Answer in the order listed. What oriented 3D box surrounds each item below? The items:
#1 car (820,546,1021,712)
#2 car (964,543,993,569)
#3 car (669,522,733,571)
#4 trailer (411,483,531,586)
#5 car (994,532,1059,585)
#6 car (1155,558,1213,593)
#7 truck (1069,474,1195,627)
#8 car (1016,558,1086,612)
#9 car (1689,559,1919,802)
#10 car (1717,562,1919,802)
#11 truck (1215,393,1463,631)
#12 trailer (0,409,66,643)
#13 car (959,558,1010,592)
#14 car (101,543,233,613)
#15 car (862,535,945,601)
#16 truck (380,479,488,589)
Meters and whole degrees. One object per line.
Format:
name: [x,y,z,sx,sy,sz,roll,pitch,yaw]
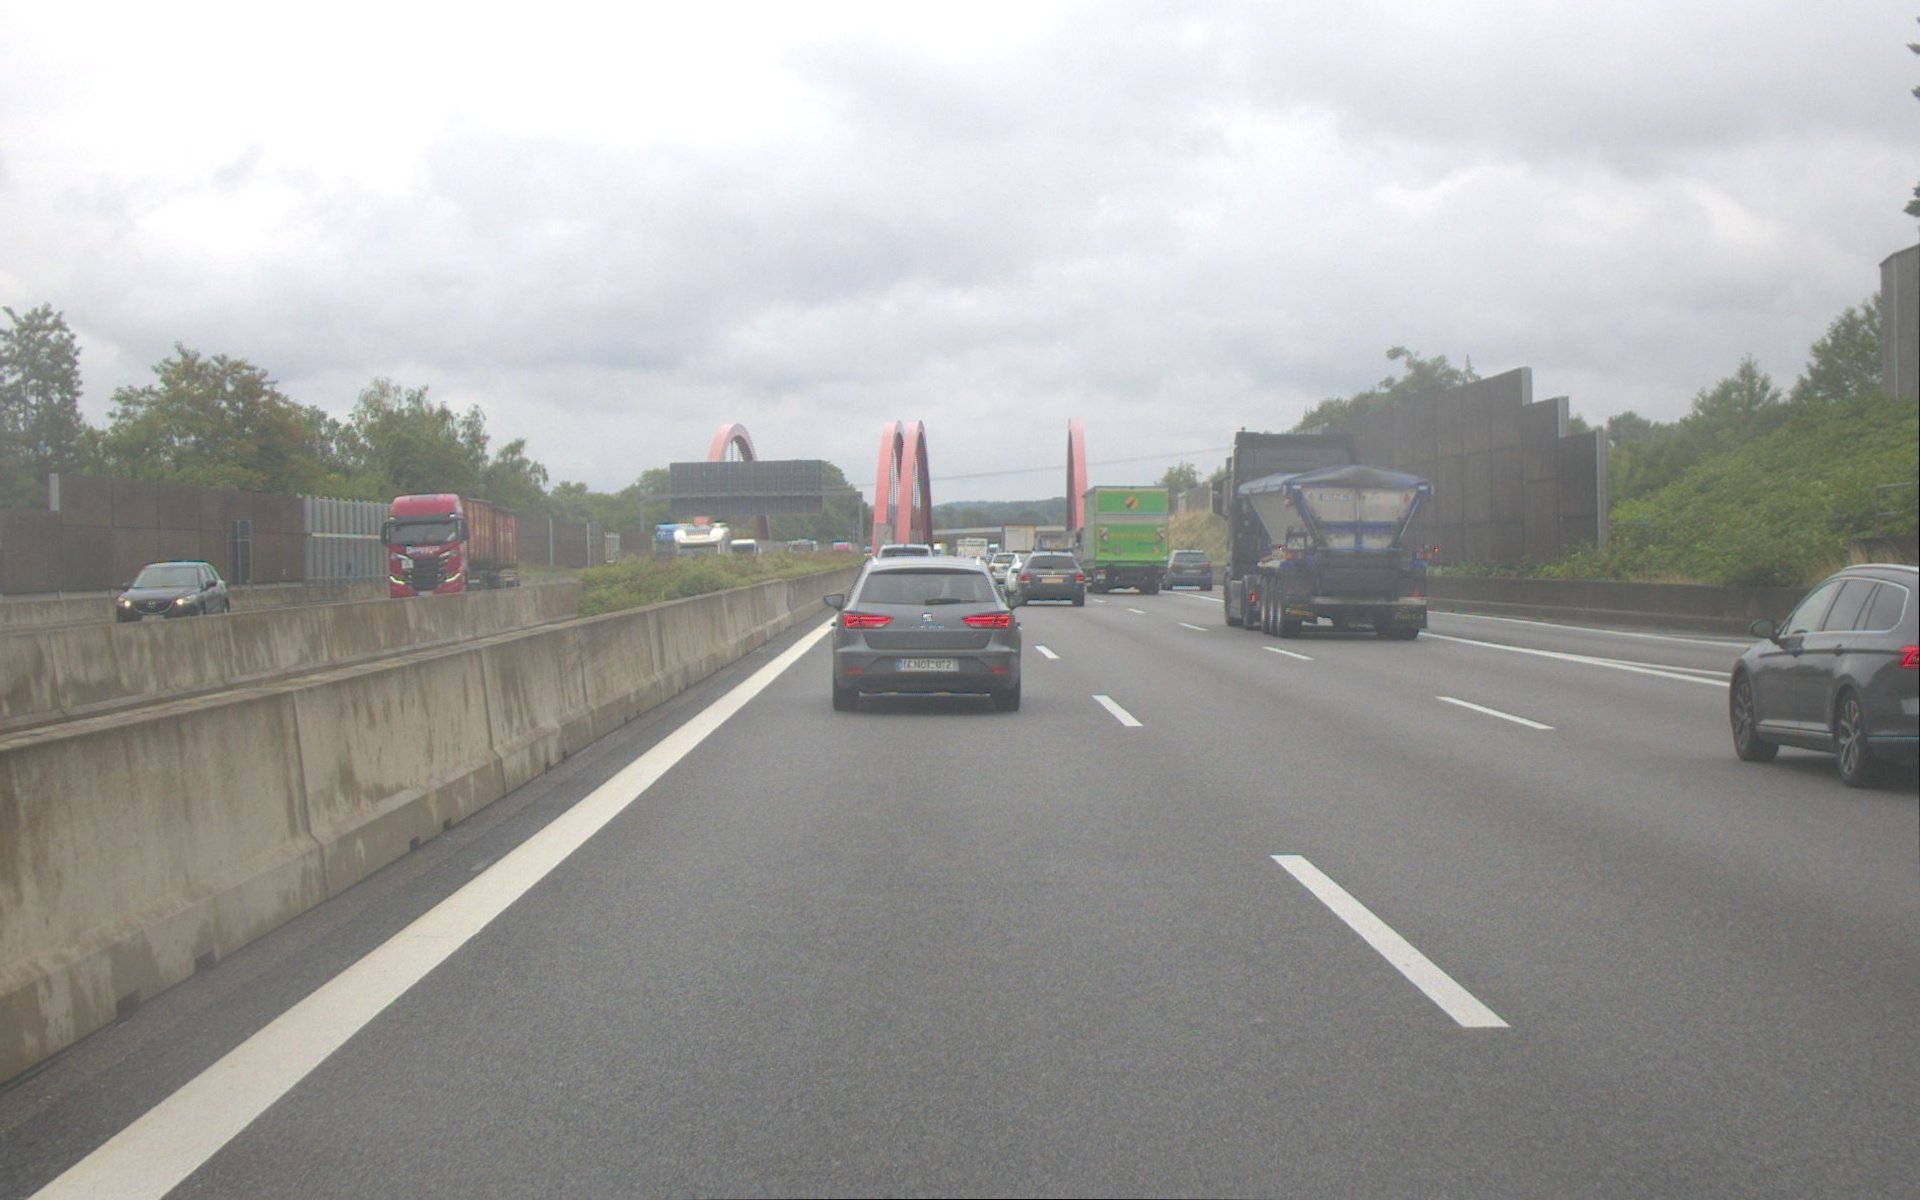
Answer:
car: [-0.400,0.228,32.395,1.763,1.448,4.000,1,1,-1]
car: [1.325,-3.125,244.101,1.993,1.809,4.000,1,1,0]
car: [-11.716,-2.405,156.098,2.373,2.185,7.724,0,1,-1]
trailer: [-18.288,-2.451,129.304,2.726,3.671,12.564,-1,1,0]
car: [2.152,-1.376,112.660,1.993,1.656,4.000,1,1,-1]
car: [8.978,-1.003,137.902,1.993,1.349,4.000,-1,1,-1]
truck: [6.137,-1.769,124.644,3.997,5.248,11.219,1,1,0]
car: [2.432,-0.417,92.696,1.782,1.401,3.626,0,1,0]
car: [6.525,0.474,23.361,1.939,1.422,5.289,1,1,-1]
car: [6.454,0.487,23.028,1.663,1.451,4.471,1,1,-1]
truck: [6.806,-1.539,63.849,3.089,3.936,12.945,-1,1,0]
trailer: [-17.508,-1.190,55.700,2.903,3.922,12.445,-1,1,-1]
car: [1.000,-1.050,143.309,1.993,1.349,4.000,-1,1,-1]
car: [-17.947,-0.517,78.014,1.993,1.532,4.482,-1,1,-1]
car: [-1.397,-0.800,85.157,1.993,1.579,4.000,-1,1,-1]
truck: [-18.410,-2.279,120.649,2.696,3.694,6.481,1,1,1]
